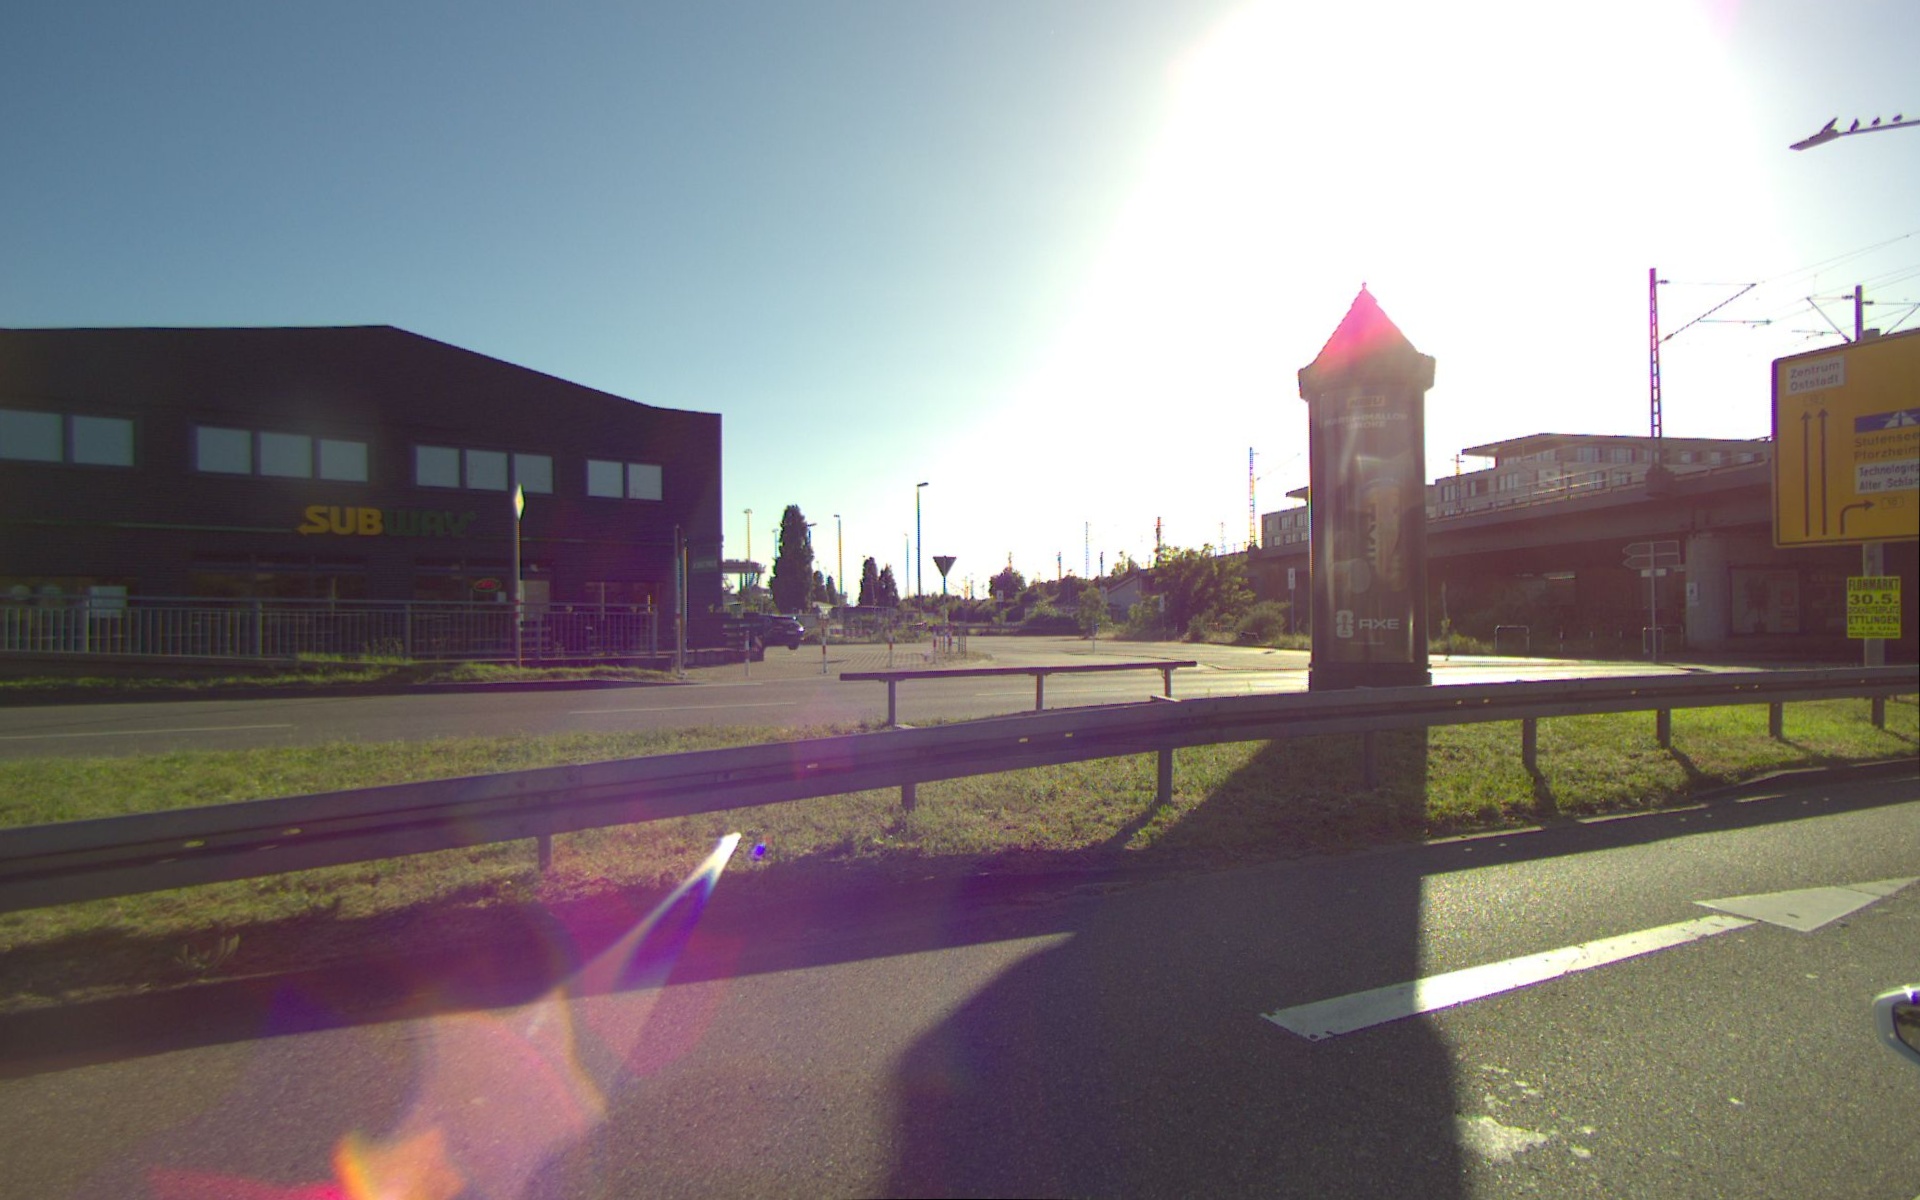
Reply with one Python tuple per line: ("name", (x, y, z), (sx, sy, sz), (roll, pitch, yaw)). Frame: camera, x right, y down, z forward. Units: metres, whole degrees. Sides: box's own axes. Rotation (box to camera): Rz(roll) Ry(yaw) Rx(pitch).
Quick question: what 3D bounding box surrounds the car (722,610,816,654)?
("car", (-8.063, 1.395, 42.291), (4.053, 1.737, 1.942), (-4, -4, 44))
